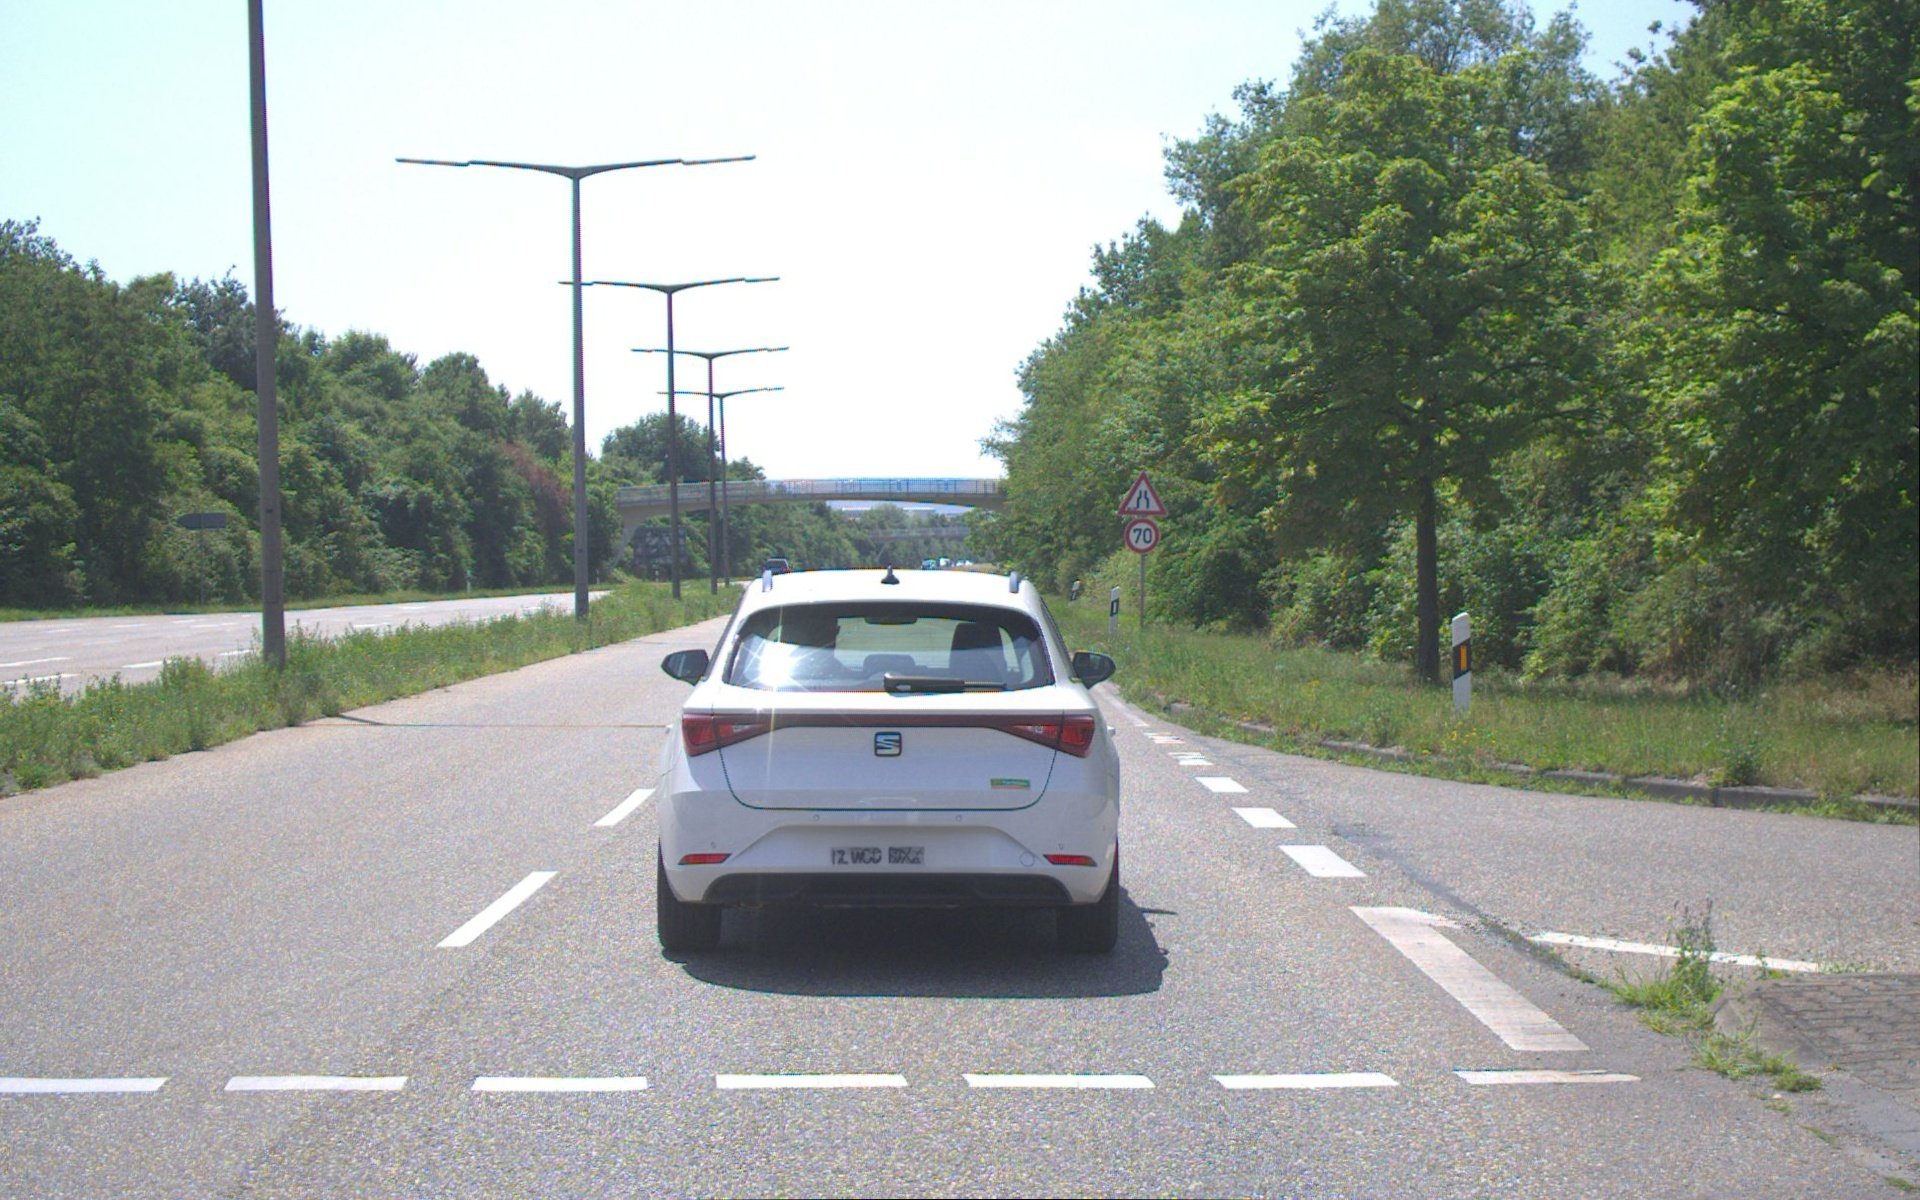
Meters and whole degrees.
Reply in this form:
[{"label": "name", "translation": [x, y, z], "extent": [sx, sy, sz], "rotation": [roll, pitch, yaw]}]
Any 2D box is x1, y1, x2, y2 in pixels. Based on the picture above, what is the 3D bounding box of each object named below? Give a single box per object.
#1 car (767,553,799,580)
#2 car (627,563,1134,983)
[{"label": "car", "translation": [-11.982, -2.281, 232.600], "extent": [1.855, 1.703, 4.000], "rotation": [-2, 1, 1]}, {"label": "car", "translation": [-0.271, 0.596, 13.818], "extent": [1.734, 1.424, 3.694], "rotation": [1, 0, 0]}]
